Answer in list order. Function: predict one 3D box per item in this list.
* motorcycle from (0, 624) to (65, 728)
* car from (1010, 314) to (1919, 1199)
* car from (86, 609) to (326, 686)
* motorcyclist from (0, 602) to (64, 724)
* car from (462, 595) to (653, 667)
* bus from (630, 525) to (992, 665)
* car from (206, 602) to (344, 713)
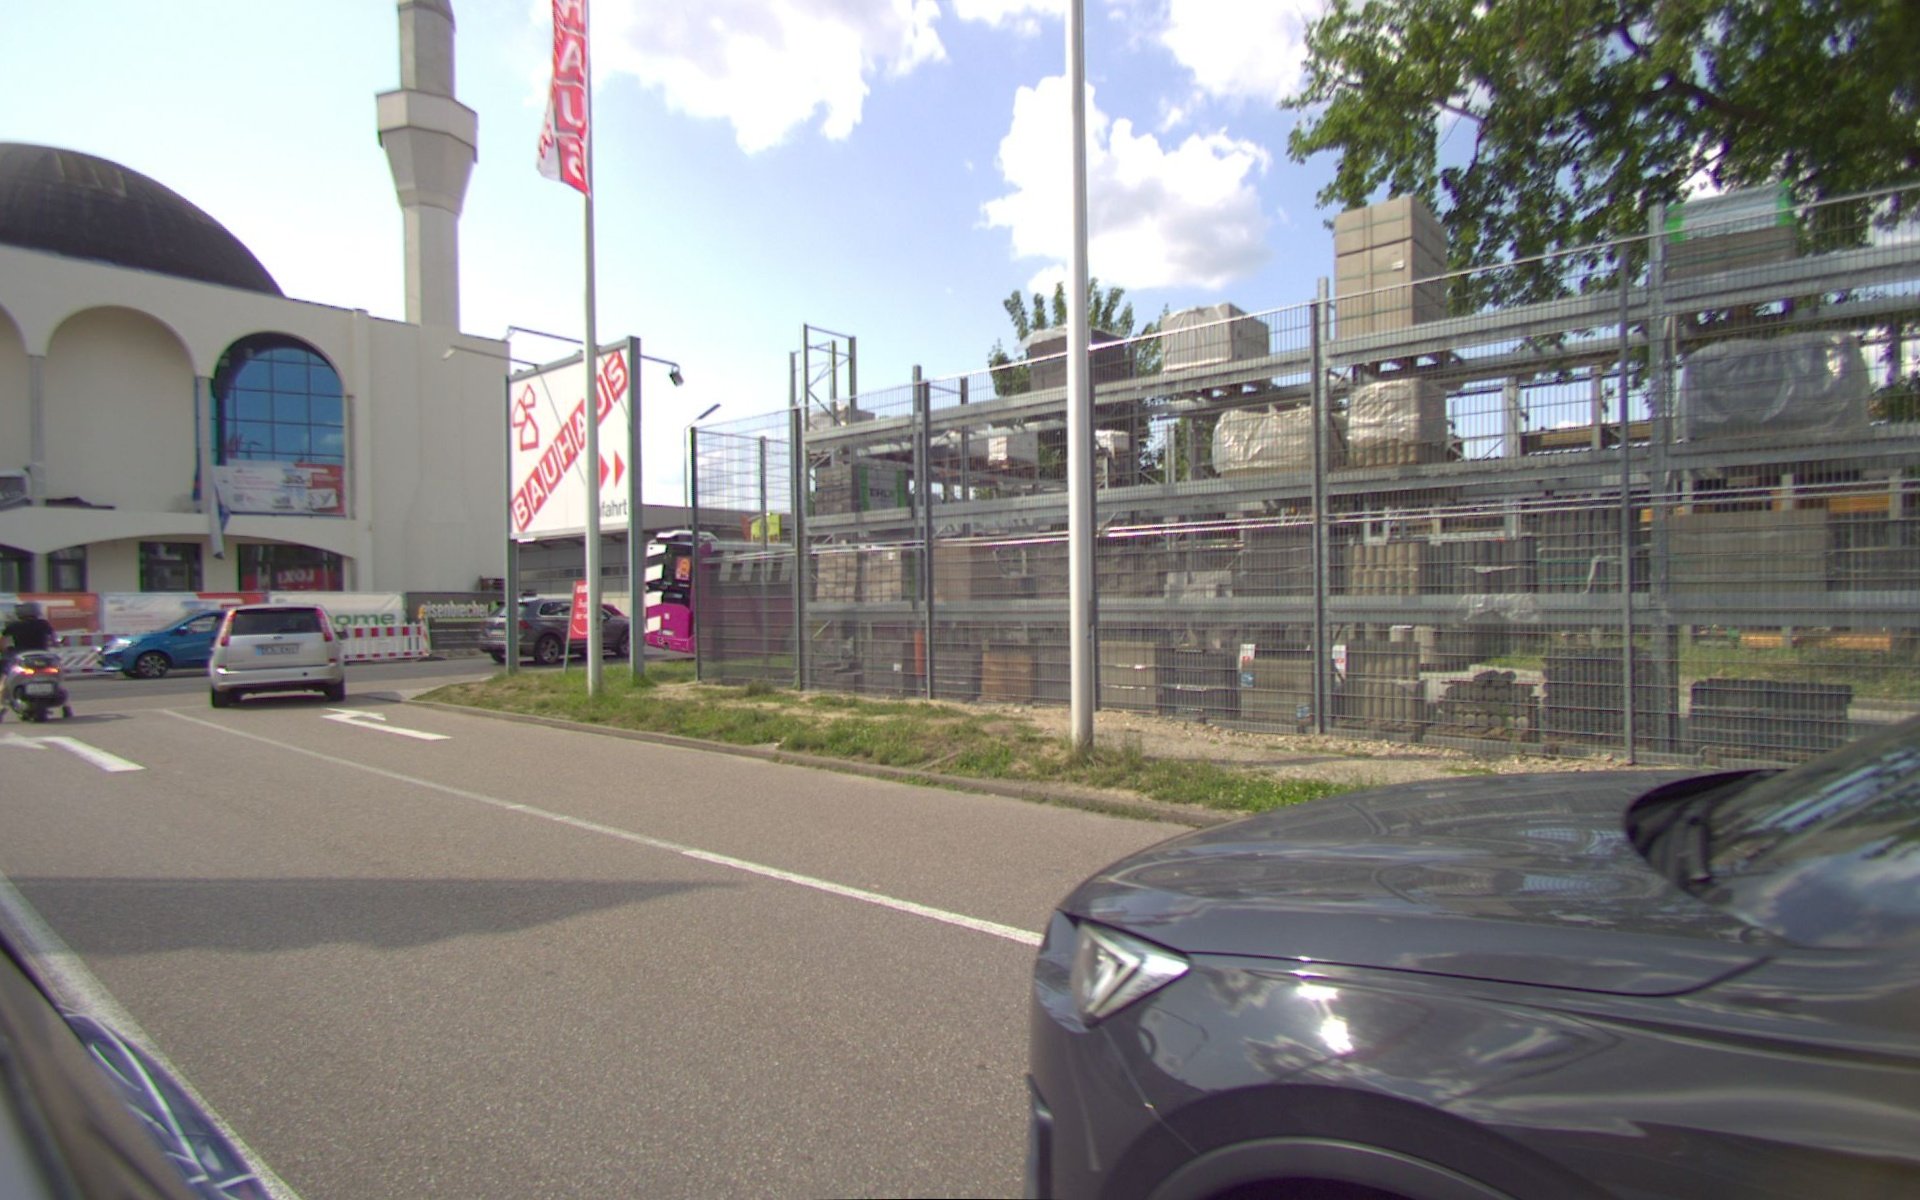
[{"bbox_3d":[-13.000,1.005,14.047,2.213,1.316,0.663,-1,0,44],"label":"motorcycle"},{"bbox_3d":[2.341,0.547,0.777,4.371,1.630,1.895,-2,-1,41],"label":"car"},{"bbox_3d":[-17.158,1.009,23.183,1.696,1.525,4.140,-1,0,40],"label":"car"},{"bbox_3d":[-12.958,0.850,14.004,0.686,1.641,0.778,-1,0,43],"label":"motorcyclist"},{"bbox_3d":[-10.290,0.779,26.172,1.765,1.678,4.336,-4,-2,33],"label":"car"},{"bbox_3d":[-3.784,-0.153,29.731,2.891,3.390,11.412,-1,0,41],"label":"bus"},{"bbox_3d":[-11.360,0.850,16.782,1.694,1.576,4.220,-1,0,-35],"label":"car"}]
